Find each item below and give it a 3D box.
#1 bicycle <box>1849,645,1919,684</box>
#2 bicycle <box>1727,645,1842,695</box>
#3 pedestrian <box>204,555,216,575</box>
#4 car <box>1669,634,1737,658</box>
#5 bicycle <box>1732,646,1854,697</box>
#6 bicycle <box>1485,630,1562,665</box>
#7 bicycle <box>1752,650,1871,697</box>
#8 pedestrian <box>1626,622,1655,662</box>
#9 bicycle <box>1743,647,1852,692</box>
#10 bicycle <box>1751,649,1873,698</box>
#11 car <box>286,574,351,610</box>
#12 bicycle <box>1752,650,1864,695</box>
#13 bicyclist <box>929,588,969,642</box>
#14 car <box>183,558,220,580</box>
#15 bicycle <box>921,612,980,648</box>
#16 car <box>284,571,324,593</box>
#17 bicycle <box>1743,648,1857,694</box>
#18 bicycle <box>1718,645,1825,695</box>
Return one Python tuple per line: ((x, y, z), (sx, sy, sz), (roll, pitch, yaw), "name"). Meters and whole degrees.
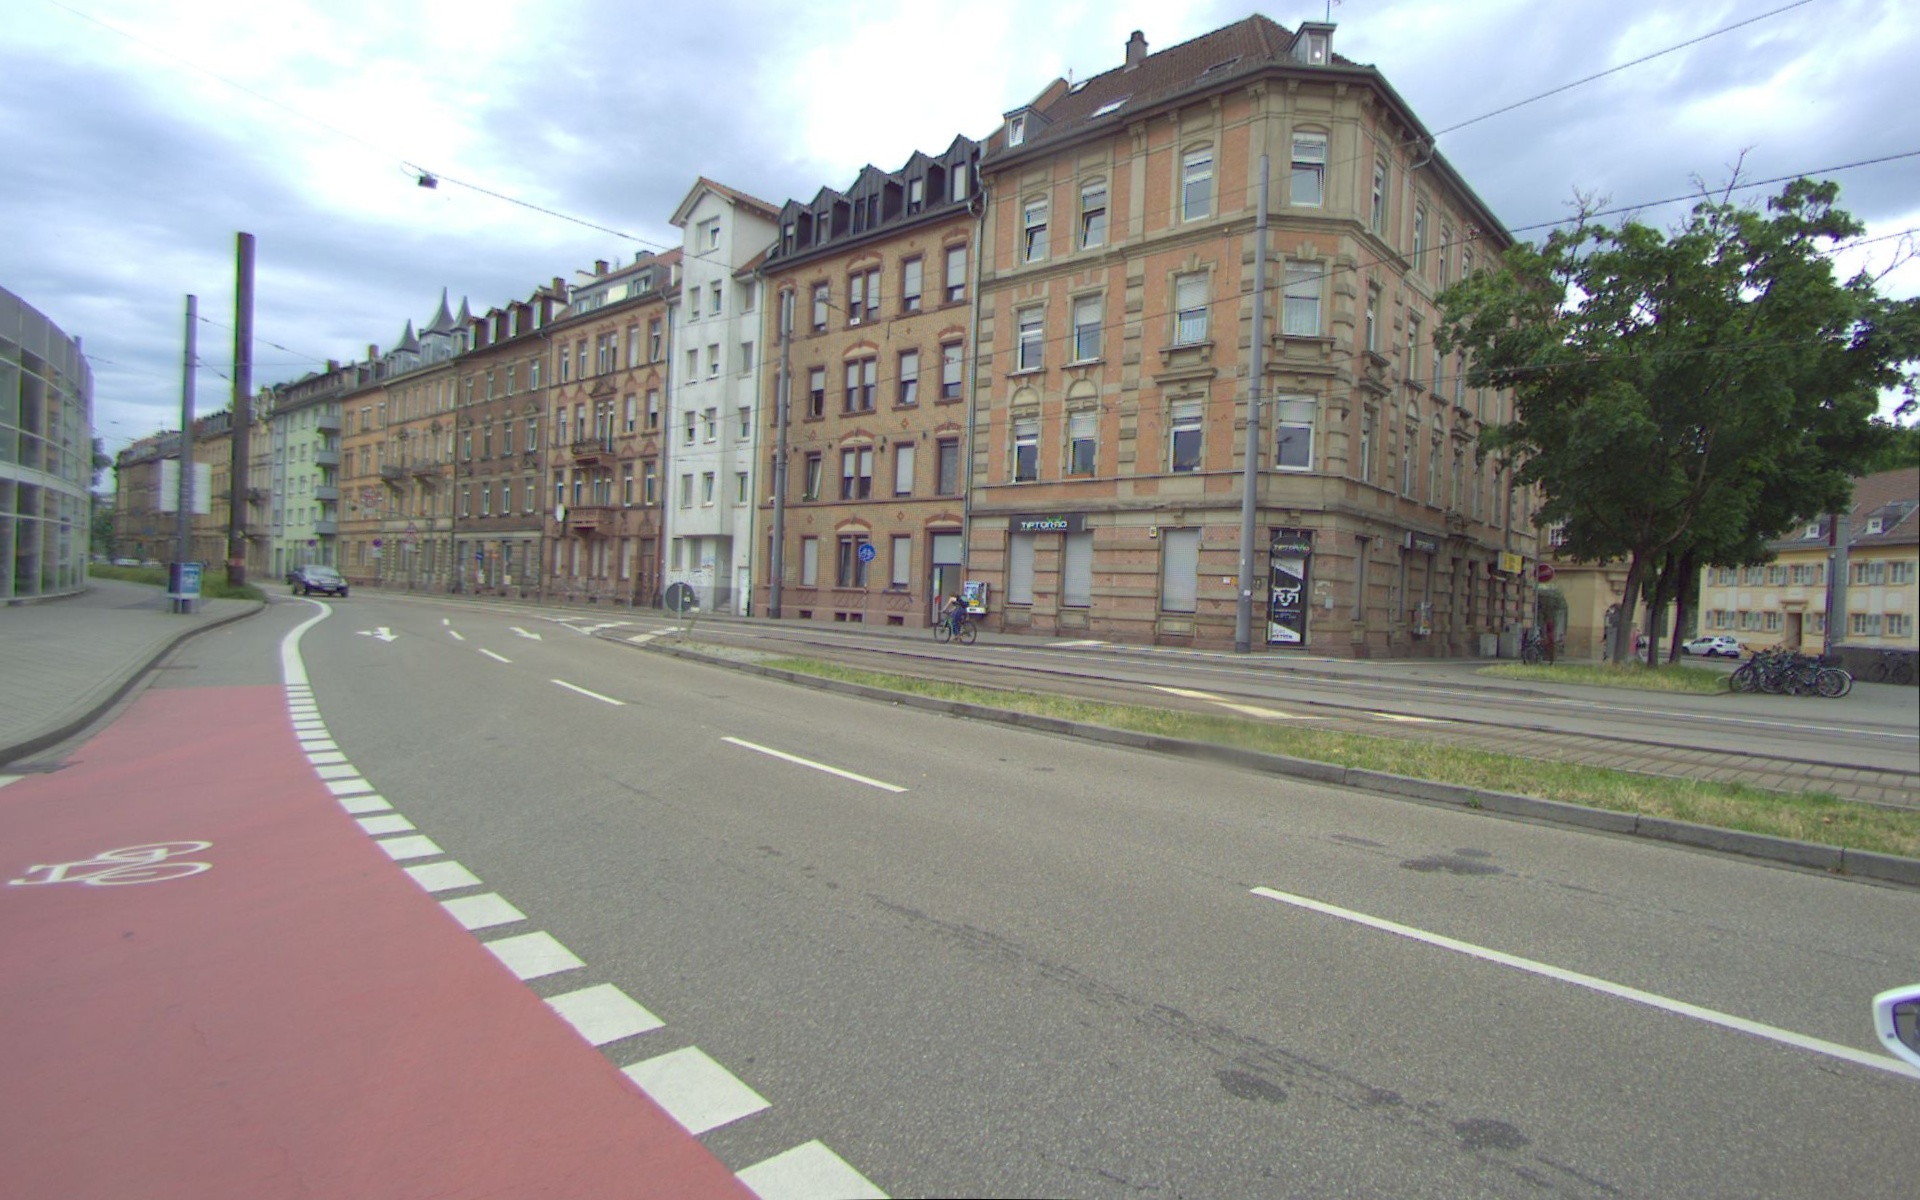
((31.056, 2.148, 33.562), (0.725, 1.130, 2.364), (2, 0, 5), "bicycle")
((19.592, 1.648, 23.916), (0.517, 1.000, 2.016), (2, 1, -37), "bicycle")
((-76.959, -3.610, 103.082), (0.690, 2.040, 0.806), (3, 1, 43), "pedestrian")
((52.827, 3.254, 71.473), (1.664, 1.468, 4.187), (2, 1, 0), "car")
((20.054, 1.706, 24.231), (0.476, 1.019, 2.197), (2, 1, -37), "bicycle")
((17.398, 1.462, 31.071), (0.656, 0.927, 1.970), (2, 1, -34), "bicycle")
((21.589, 1.842, 25.523), (0.605, 1.000, 2.197), (2, 1, -37), "bicycle")
((30.526, 1.879, 45.034), (0.946, 1.745, 0.836), (2, 1, -44), "pedestrian")
((23.252, 1.907, 27.927), (0.682, 1.052, 2.197), (2, 1, -37), "bicycle")
((20.781, 1.771, 24.545), (0.495, 1.000, 2.197), (2, 1, -37), "bicycle")
((-29.340, -0.385, 45.908), (1.704, 1.440, 4.015), (2, 1, -44), "car")
((22.602, 1.902, 26.819), (0.580, 1.000, 2.197), (2, 1, -37), "bicycle")
((-0.315, 0.427, 29.452), (0.928, 1.514, 0.660), (3, 1, 40), "bicyclist")
((-63.751, -2.598, 84.422), (4.171, 1.662, 1.793), (3, 1, 44), "car")
((-0.289, 0.866, 29.418), (1.693, 0.927, 0.605), (3, 1, 39), "bicycle")
((-49.791, -1.370, 76.172), (1.842, 1.500, 3.777), (2, 1, -44), "car")
((21.853, 1.838, 26.175), (0.495, 1.000, 2.197), (2, 1, -37), "bicycle")
((18.961, 1.607, 23.505), (0.496, 1.000, 1.848), (2, 1, -38), "bicycle")
